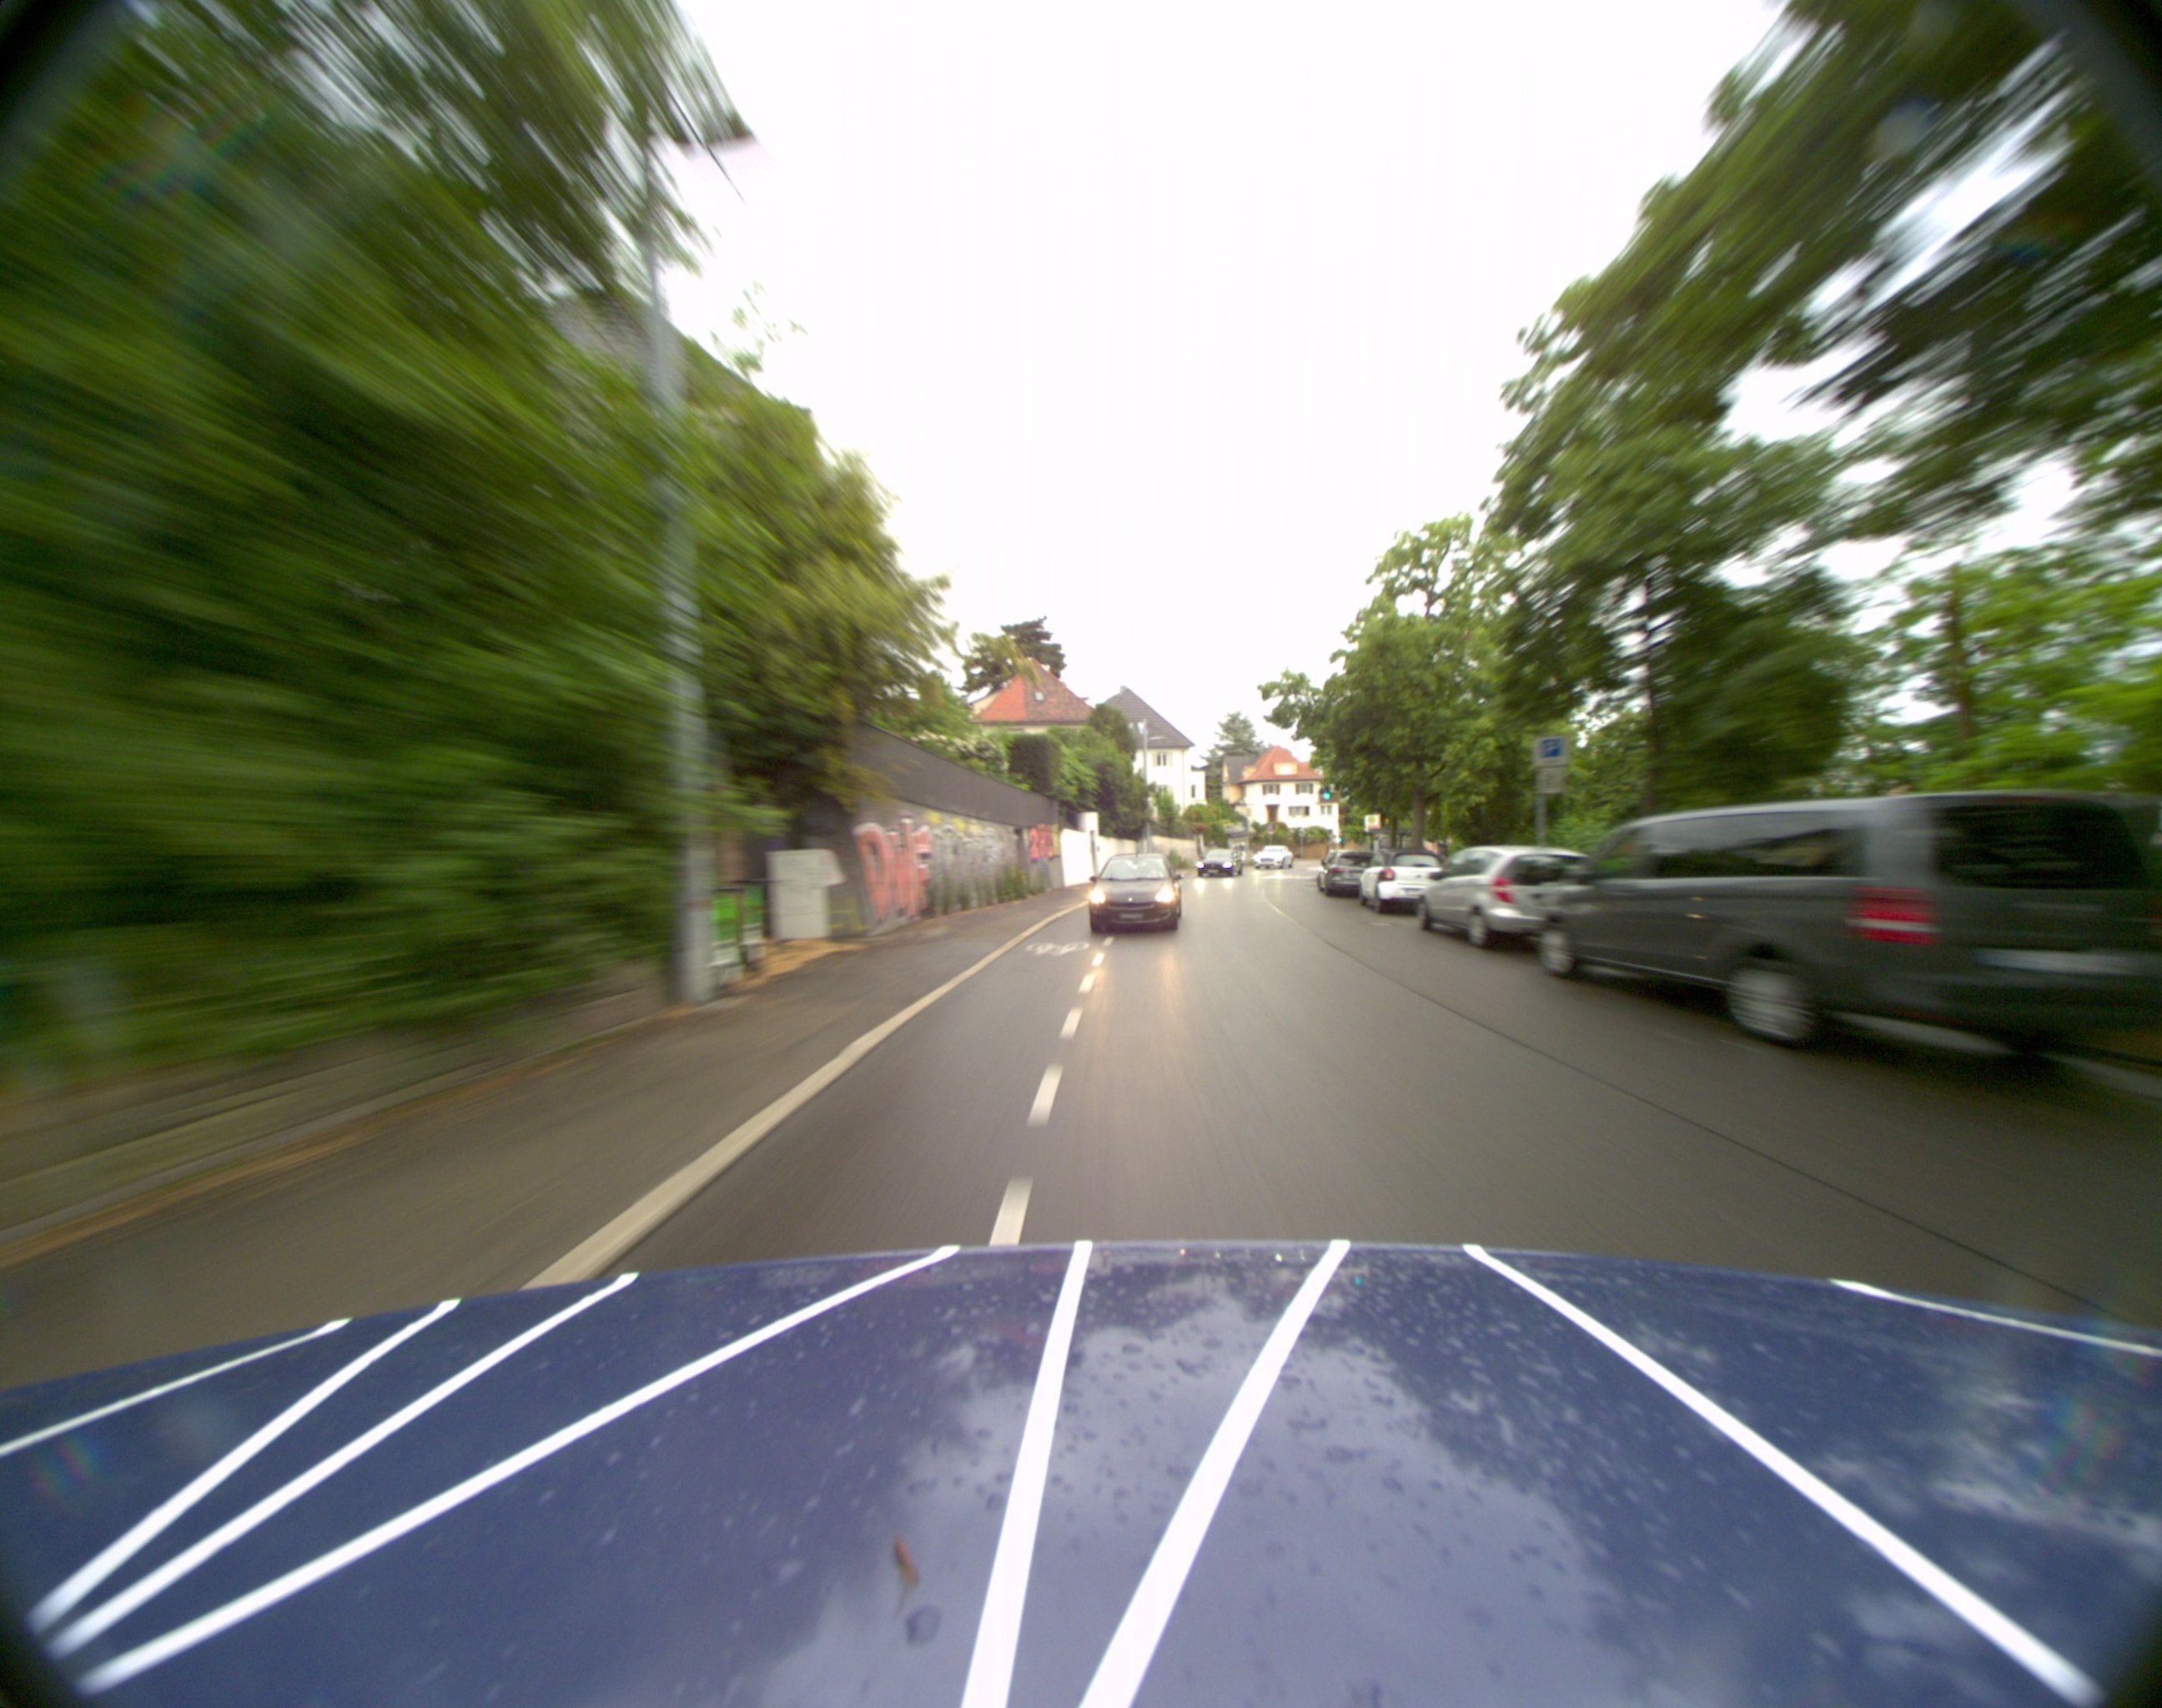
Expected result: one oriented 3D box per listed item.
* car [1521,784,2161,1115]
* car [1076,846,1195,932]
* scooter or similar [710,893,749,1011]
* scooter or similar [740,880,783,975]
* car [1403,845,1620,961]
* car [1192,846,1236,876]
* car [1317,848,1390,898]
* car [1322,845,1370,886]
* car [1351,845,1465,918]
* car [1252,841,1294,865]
[{"bbox_3d":[6.307,0.573,7.035,1.958,1.956,5.004,1,0,6],"label":"car"},{"bbox_3d":[1.288,0.623,15.872,1.802,1.418,4.386,-3,1,12],"label":"car"},{"bbox_3d":[-3.896,1.034,8.452,0.347,1.111,1.419,1,1,-24],"label":"scooter or similar"},{"bbox_3d":[-4.341,0.958,10.288,0.348,1.111,1.418,0,2,-30],"label":"scooter or similar"},{"bbox_3d":[6.930,0.674,12.723,1.687,1.544,3.767,2,2,5],"label":"car"},{"bbox_3d":[7.133,0.335,40.350,2.028,1.454,4.004,-1,1,14],"label":"car"},{"bbox_3d":[8.735,0.542,24.672,1.686,1.372,4.504,2,2,13],"label":"car"},{"bbox_3d":[10.481,0.399,30.150,1.657,1.422,4.380,1,2,19],"label":"car"},{"bbox_3d":[8.001,0.584,18.987,1.686,1.501,4.208,2,2,11],"label":"car"},{"bbox_3d":[13.748,-0.093,54.264,2.027,1.619,4.235,1,1,27],"label":"car"}]
